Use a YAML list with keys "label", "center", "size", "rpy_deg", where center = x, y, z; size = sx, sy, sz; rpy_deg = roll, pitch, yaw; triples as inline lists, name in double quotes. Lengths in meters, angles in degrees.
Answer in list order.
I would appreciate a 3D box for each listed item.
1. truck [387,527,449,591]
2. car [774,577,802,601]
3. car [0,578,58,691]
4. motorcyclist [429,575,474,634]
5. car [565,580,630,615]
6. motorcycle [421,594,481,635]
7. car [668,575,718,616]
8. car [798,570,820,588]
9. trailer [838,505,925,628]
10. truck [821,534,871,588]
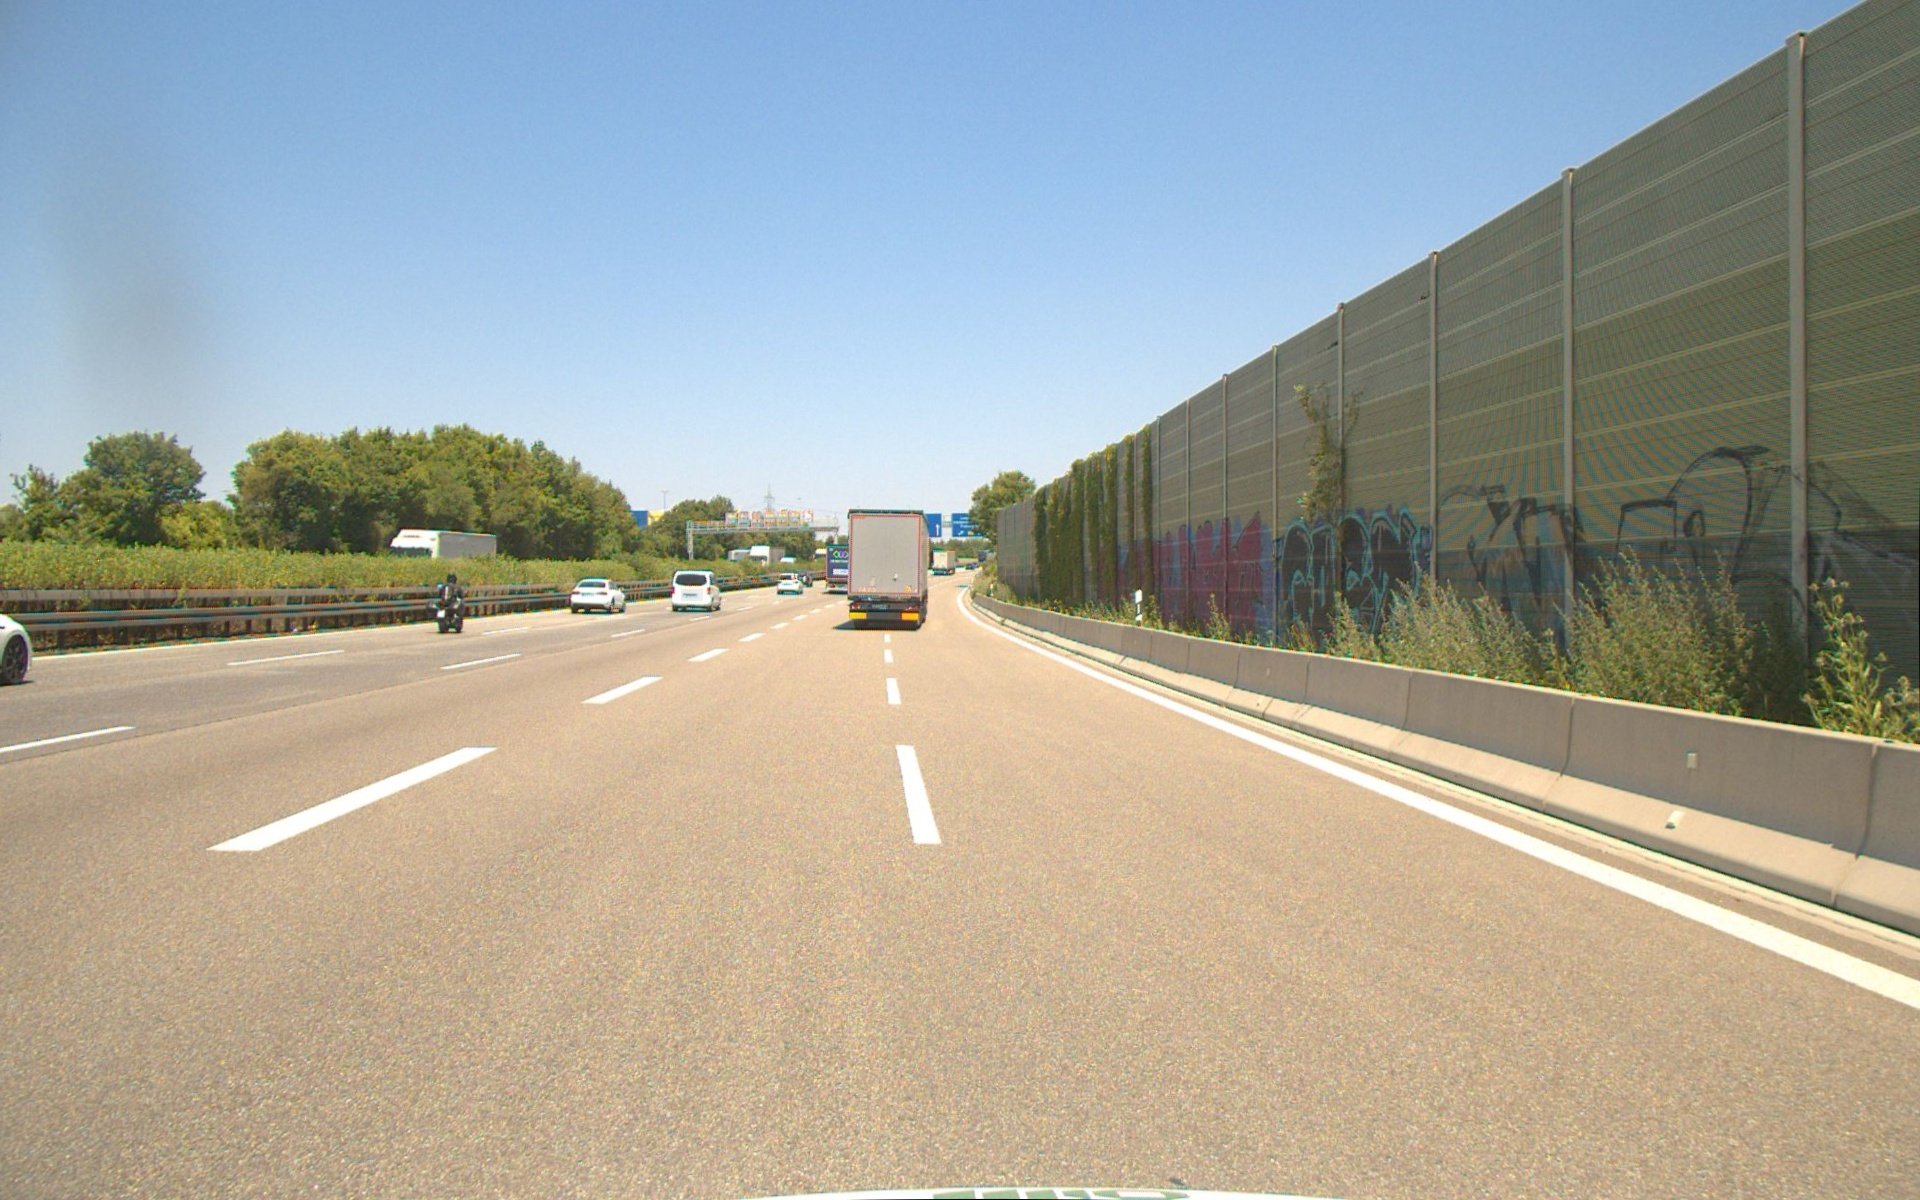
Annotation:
- label: "truck"
  center: [-35.452, -2.654, 108.387]
  size: [2.487, 4.016, 5.165]
  rpy_deg: [1, 1, -2]
- label: "car"
  center: [-13.791, -0.890, 132.663]
  size: [1.866, 1.884, 4.629]
  rpy_deg: [0, 1, -2]
- label: "car"
  center: [-13.273, 0.446, 20.585]
  size: [1.746, 1.466, 4.665]
  rpy_deg: [0, 0, -3]
- label: "motorcyclist"
  center: [-14.055, 0.125, 45.750]
  size: [0.875, 1.625, 1.298]
  rpy_deg: [0, 0, -3]
- label: "car"
  center: [-15.723, -0.114, 71.935]
  size: [1.839, 1.466, 5.124]
  rpy_deg: [1, 0, -2]
- label: "motorcycle"
  center: [-14.044, 0.383, 45.738]
  size: [0.894, 1.108, 2.848]
  rpy_deg: [0, 0, -3]
- label: "car"
  center: [-12.594, -0.181, 78.268]
  size: [1.892, 1.884, 4.688]
  rpy_deg: [0, -1, -4]
- label: "car"
  center: [-15.287, -2.090, 167.641]
  size: [1.865, 1.747, 4.630]
  rpy_deg: [0, -1, 0]
- label: "trailer"
  center: [-2.782, -1.212, 61.184]
  size: [2.869, 4.085, 12.035]
  rpy_deg: [0, 1, -2]
- label: "truck"
  center: [-9.746, -3.383, 142.724]
  size: [3.671, 4.344, 14.493]
  rpy_deg: [1, 1, -2]
